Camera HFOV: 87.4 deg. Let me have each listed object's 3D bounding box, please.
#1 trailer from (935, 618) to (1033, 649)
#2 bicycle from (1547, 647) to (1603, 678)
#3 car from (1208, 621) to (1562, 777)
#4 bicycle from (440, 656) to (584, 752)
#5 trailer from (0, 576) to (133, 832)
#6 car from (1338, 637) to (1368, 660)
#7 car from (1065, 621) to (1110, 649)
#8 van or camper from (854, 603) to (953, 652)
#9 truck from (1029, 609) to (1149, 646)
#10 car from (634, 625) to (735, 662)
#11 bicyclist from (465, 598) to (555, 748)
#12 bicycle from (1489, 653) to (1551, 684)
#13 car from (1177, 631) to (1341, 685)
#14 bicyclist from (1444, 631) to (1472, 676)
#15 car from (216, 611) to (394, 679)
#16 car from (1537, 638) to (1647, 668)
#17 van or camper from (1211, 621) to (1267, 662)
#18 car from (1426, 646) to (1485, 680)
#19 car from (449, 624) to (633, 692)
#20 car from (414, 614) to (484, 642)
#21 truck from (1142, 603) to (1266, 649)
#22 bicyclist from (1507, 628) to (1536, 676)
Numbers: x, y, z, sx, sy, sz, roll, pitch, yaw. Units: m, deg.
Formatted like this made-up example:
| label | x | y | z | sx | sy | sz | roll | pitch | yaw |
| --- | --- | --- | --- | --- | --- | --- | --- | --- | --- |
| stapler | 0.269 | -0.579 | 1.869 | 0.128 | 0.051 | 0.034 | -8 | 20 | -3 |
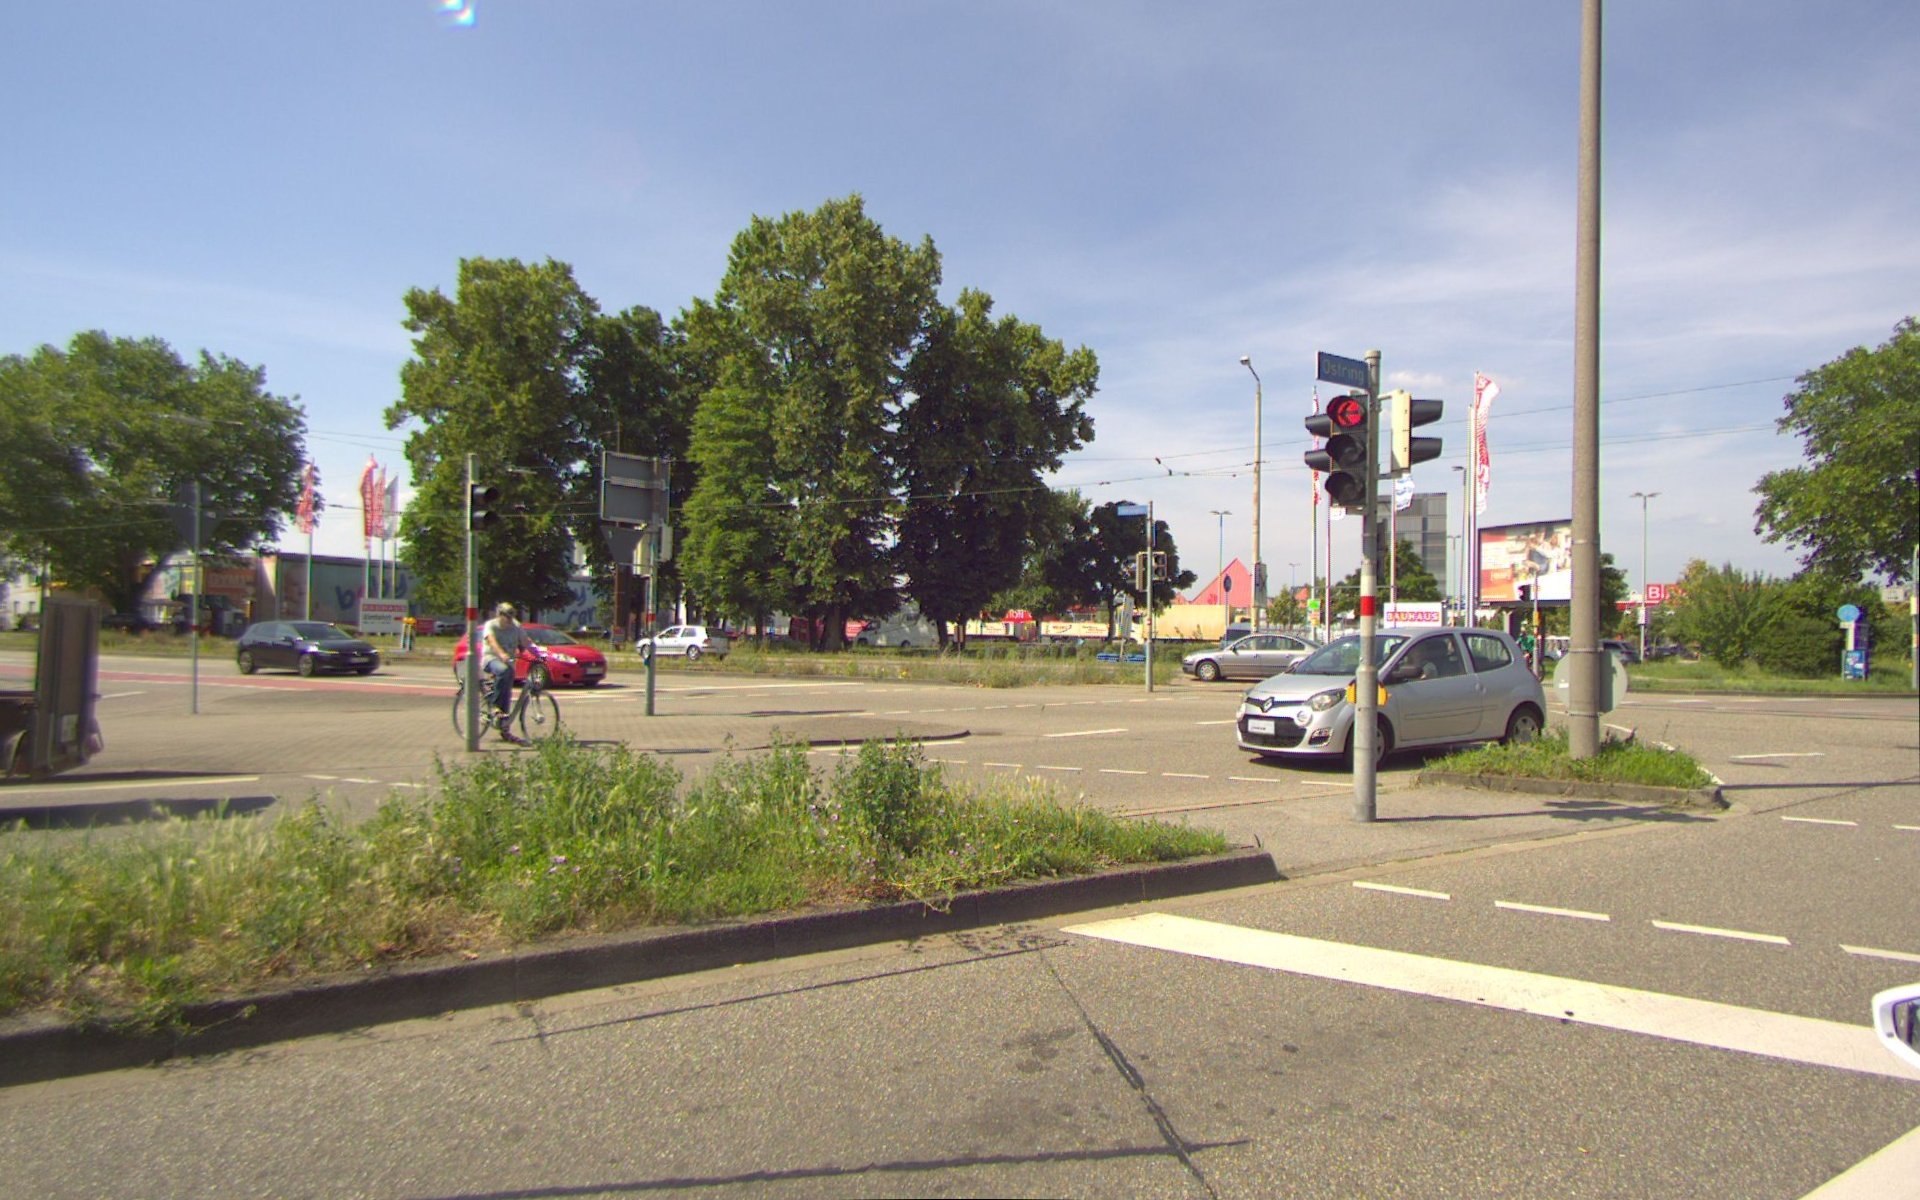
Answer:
| label | x | y | z | sx | sy | sz | roll | pitch | yaw |
| --- | --- | --- | --- | --- | --- | --- | --- | --- | --- |
| trailer | 2.095 | 2.863 | 87.288 | 8.057 | 2.523 | 2.924 | 0 | -2 | 26 |
| bicycle | 21.589 | 2.199 | 35.272 | 1.864 | 1.051 | 0.594 | 1 | -1 | -16 |
| car | 4.821 | 1.026 | 11.380 | 3.684 | 1.534 | 1.645 | 1 | -2 | -24 |
| bicycle | -5.664 | 1.270 | 12.642 | 2.128 | 1.078 | 0.524 | 0 | -2 | 31 |
| trailer | -8.493 | 0.684 | 6.902 | 3.941 | 1.738 | 2.054 | 1 | -2 | -28 |
| car | 27.914 | 3.420 | 71.334 | 1.787 | 1.593 | 4.278 | 0 | -2 | 24 |
| car | 12.535 | 3.427 | 98.436 | 2.344 | 2.562 | 6.118 | 0 | -2 | 28 |
| van or camper | -3.890 | 1.840 | 68.777 | 6.207 | 3.141 | 2.710 | 1 | -1 | 26 |
| truck | 10.658 | 2.232 | 83.299 | 9.431 | 2.930 | 2.925 | 0 | -2 | 24 |
| car | -11.312 | 1.759 | 41.223 | 3.788 | 1.446 | 1.698 | 0 | -2 | 26 |
| bicyclist | -5.664 | 0.889 | 12.656 | 0.754 | 1.812 | 0.704 | 0 | -1 | 31 |
| bicycle | 17.663 | 2.164 | 31.682 | 1.963 | 0.950 | 0.416 | 1 | -1 | -14 |
| car | 8.674 | 1.645 | 29.227 | 4.379 | 1.430 | 1.638 | 0 | -2 | 26 |
| bicyclist | 15.984 | 1.713 | 32.248 | 0.598 | 1.432 | 0.529 | 1 | -1 | -7 |
| car | -17.765 | 1.195 | 27.291 | 3.920 | 1.721 | 2.001 | 0 | -2 | 18 |
| car | 33.647 | 2.814 | 53.596 | 2.180 | 1.432 | 4.529 | 2 | -2 | -37 |
| van or camper | 16.190 | 2.396 | 58.165 | 2.155 | 2.239 | 5.513 | 0 | -2 | 26 |
| car | 26.371 | 3.316 | 53.605 | 2.157 | 1.593 | 4.579 | 0 | -2 | 17 |
| car | -9.930 | 1.325 | 23.804 | 3.924 | 1.468 | 1.846 | 0 | -2 | 25 |
| car | -43.159 | 2.351 | 85.006 | 2.112 | 2.308 | 5.037 | 0 | -2 | 26 |
| truck | 18.473 | 1.931 | 76.197 | 8.753 | 3.355 | 3.159 | 0 | -2 | 23 |
| bicyclist | 17.718 | 1.635 | 31.702 | 0.599 | 1.511 | 0.528 | 1 | -1 | -15 |
